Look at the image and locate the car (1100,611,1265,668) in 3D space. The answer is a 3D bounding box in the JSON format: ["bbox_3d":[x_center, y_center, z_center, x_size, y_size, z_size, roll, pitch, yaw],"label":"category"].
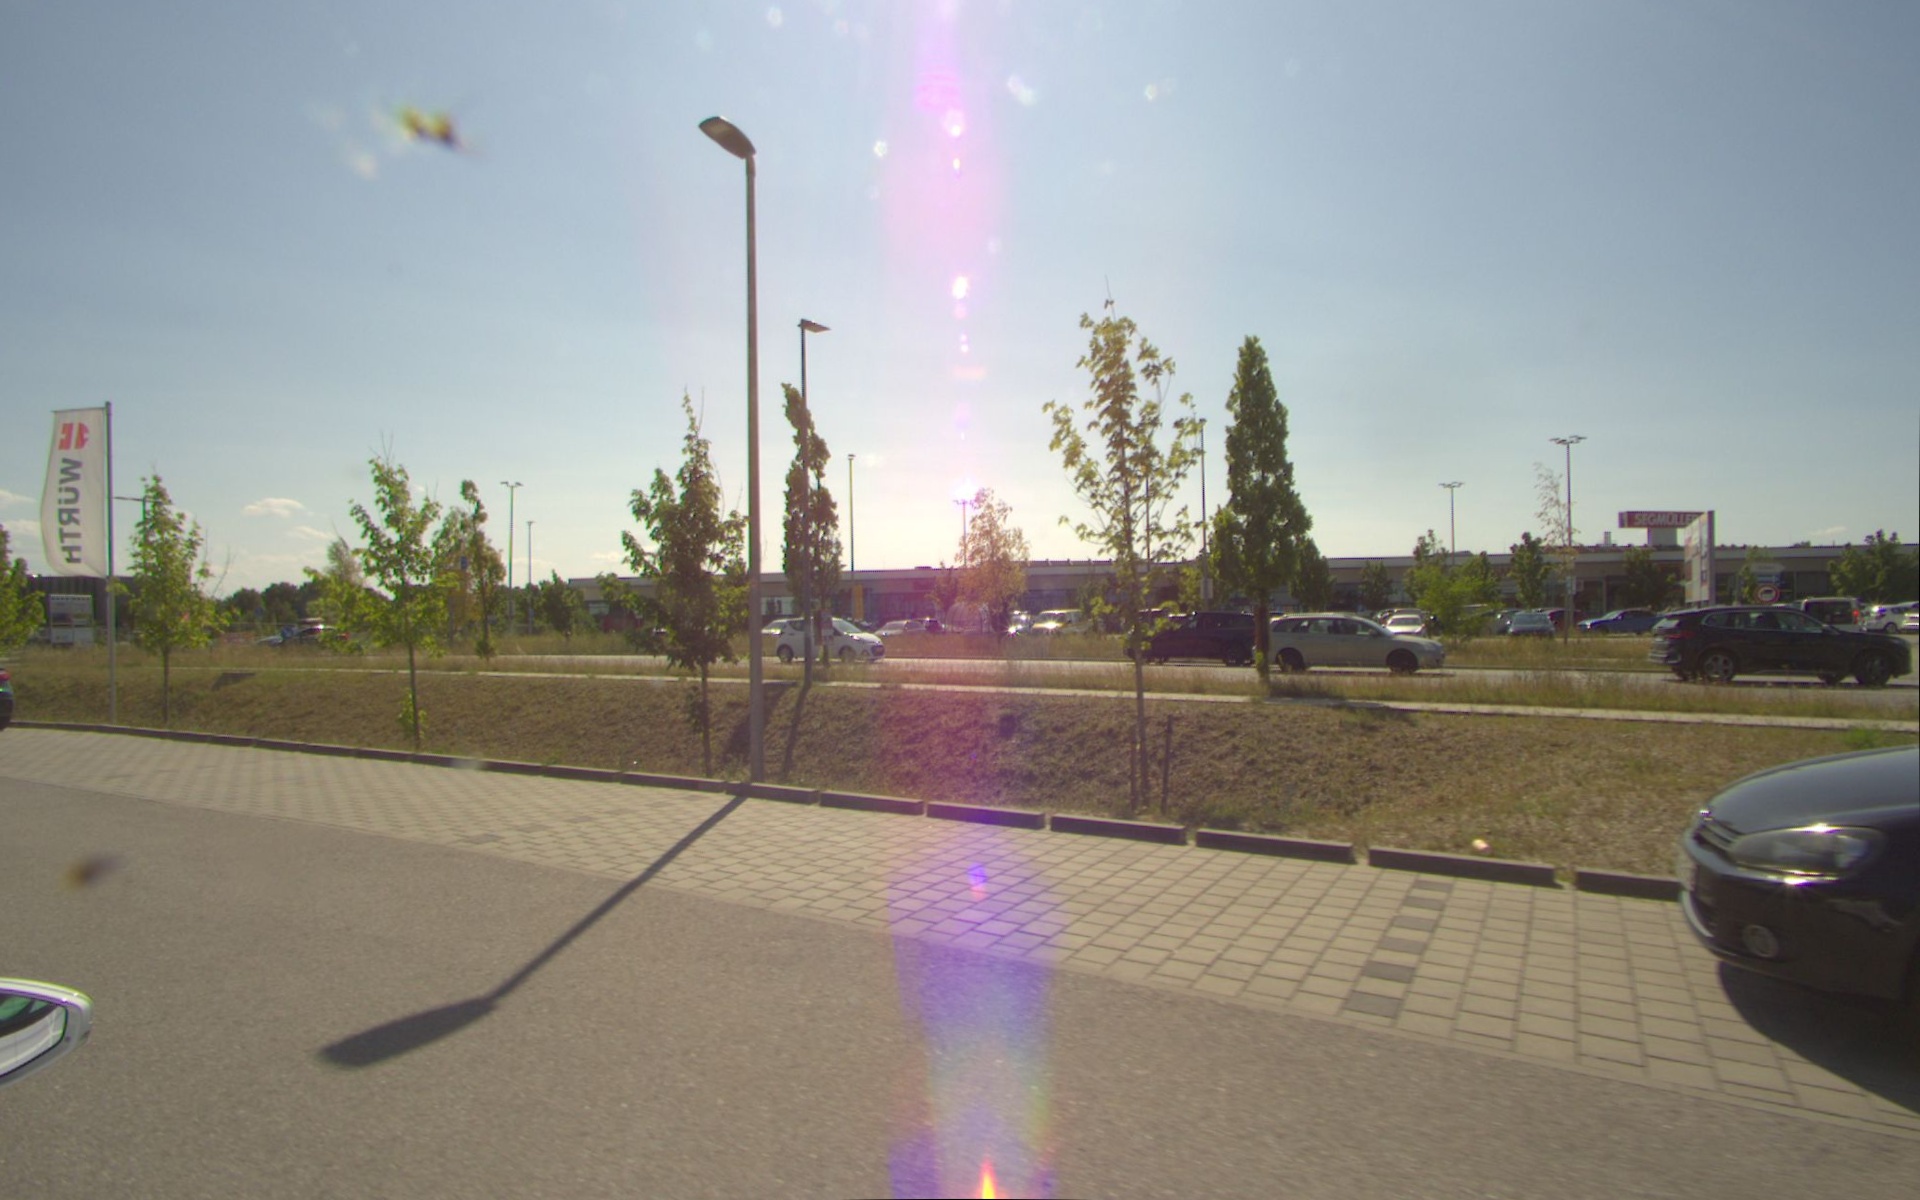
[{"bbox_3d":[6.904,1.177,31.121,4.727,1.646,1.994,0,-1,25],"label":"car"}]

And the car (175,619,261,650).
[{"bbox_3d":[-40.402,1.864,54.635,1.682,1.618,3.666,0,-1,9],"label":"car"}]

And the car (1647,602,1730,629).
[{"bbox_3d":[51.156,1.094,70.357,4.319,1.879,1.956,0,-1,6],"label":"car"}]

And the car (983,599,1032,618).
[{"bbox_3d":[3.558,0.641,74.711,3.421,1.418,1.430,0,-1,16],"label":"car"}]

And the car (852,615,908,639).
[{"bbox_3d":[-5.745,1.950,72.273,3.615,1.639,1.905,0,-1,16],"label":"car"}]

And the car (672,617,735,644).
[{"bbox_3d":[-15.809,1.872,61.859,1.812,1.639,3.656,0,-1,27],"label":"car"}]

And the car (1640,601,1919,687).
[{"bbox_3d":[17.438,0.891,21.321,4.521,1.686,1.876,0,-1,19],"label":"car"}]

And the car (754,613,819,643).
[{"bbox_3d":[-10.566,1.702,61.334,1.965,1.748,4.414,0,-1,21],"label":"car"}]

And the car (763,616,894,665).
[{"bbox_3d":[-4.350,1.303,33.137,3.936,1.503,1.872,0,-1,26],"label":"car"}]

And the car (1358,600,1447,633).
[{"bbox_3d":[28.821,1.079,65.351,4.836,2.040,2.082,0,-1,4],"label":"car"}]

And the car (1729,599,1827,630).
[{"bbox_3d":[50.631,0.927,62.071,4.319,1.879,1.956,0,-1,6],"label":"car"}]

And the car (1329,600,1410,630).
[{"bbox_3d":[28.889,1.052,70.765,4.836,2.040,2.082,0,-1,4],"label":"car"}]

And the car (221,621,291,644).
[{"bbox_3d":[-44.252,2.037,63.009,1.559,1.413,3.716,0,-1,5],"label":"car"}]

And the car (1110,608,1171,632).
[{"bbox_3d":[12.363,1.365,68.519,3.927,1.639,1.997,0,-1,17],"label":"car"}]

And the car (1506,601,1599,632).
[{"bbox_3d":[36.268,1.006,61.382,4.485,1.879,1.955,0,-1,8],"label":"car"}]

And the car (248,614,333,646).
[{"bbox_3d":[-35.180,1.567,52.705,1.682,1.618,3.666,0,-1,9],"label":"car"}]

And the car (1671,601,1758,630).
[{"bbox_3d":[50.995,1.041,67.725,4.319,1.879,1.956,0,-1,6],"label":"car"}]

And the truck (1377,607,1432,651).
[{"bbox_3d":[20.578,1.324,46.227,1.969,1.888,5.412,0,-1,28],"label":"truck"}]

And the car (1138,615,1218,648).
[{"bbox_3d":[12.648,1.810,58.065,4.330,1.870,1.996,0,-1,21],"label":"car"}]

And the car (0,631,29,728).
[{"bbox_3d":[-15.998,1.172,14.900,3.831,1.424,1.700,-1,-2,22],"label":"car"}]

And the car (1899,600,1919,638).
[{"bbox_3d":[49.035,0.947,48.853,4.320,1.879,1.955,0,-1,8],"label":"car"}]

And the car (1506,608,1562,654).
[{"bbox_3d":[24.692,1.298,43.209,1.969,1.870,4.713,0,-1,29],"label":"car"}]

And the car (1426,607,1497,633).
[{"bbox_3d":[36.974,1.487,73.897,4.320,1.879,1.955,0,-1,8],"label":"car"}]

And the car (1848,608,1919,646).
[{"bbox_3d":[48.981,1.394,51.714,4.320,1.879,1.955,0,-1,8],"label":"car"}]

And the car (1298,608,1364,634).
[{"bbox_3d":[23.888,1.346,64.380,4.219,1.639,1.987,0,-1,-35],"label":"car"}]

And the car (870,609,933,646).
[{"bbox_3d":[-3.363,1.601,58.811,1.964,2.040,5.069,0,-1,18],"label":"car"}]

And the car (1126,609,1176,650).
[{"bbox_3d":[10.107,1.535,52.704,1.964,2.040,5.172,0,-1,18],"label":"car"}]

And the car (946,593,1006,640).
[{"bbox_3d":[0.957,0.928,56.250,1.964,2.487,5.069,0,-1,18],"label":"car"}]

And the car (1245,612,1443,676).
[{"bbox_3d":[9.801,1.079,25.605,4.533,1.503,1.871,0,-1,29],"label":"car"}]

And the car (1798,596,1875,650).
[{"bbox_3d":[34.443,0.902,39.316,4.846,1.979,1.861,1,-1,-44],"label":"car"}]

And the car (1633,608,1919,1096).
[{"bbox_3d":[4.694,0.779,3.209,4.058,1.497,1.833,-1,1,30],"label":"car"}]

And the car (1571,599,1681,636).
[{"bbox_3d":[35.482,0.933,53.472,4.485,1.879,1.955,0,-1,8],"label":"car"}]

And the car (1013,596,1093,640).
[{"bbox_3d":[5.201,0.978,54.992,2.768,2.266,6.298,0,-1,21],"label":"car"}]
